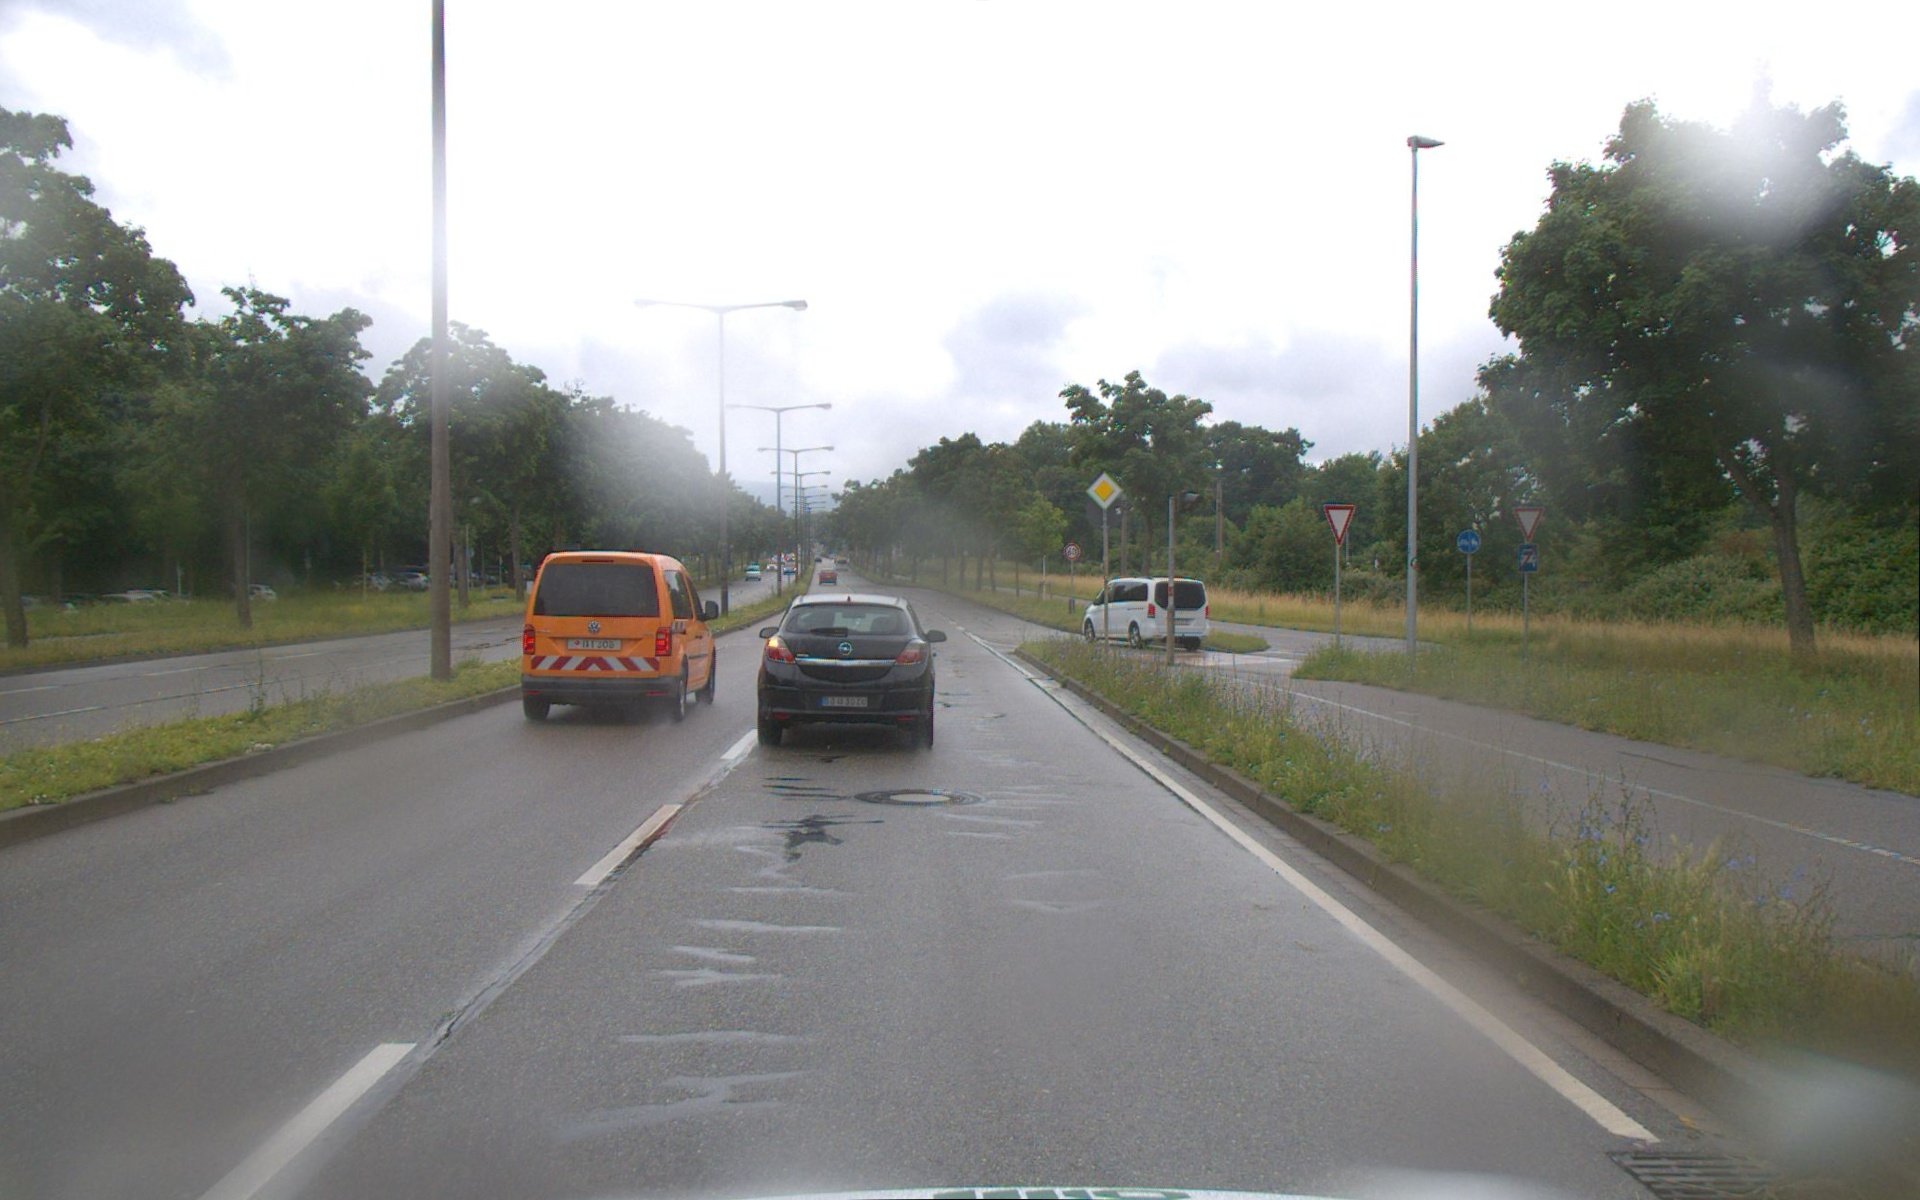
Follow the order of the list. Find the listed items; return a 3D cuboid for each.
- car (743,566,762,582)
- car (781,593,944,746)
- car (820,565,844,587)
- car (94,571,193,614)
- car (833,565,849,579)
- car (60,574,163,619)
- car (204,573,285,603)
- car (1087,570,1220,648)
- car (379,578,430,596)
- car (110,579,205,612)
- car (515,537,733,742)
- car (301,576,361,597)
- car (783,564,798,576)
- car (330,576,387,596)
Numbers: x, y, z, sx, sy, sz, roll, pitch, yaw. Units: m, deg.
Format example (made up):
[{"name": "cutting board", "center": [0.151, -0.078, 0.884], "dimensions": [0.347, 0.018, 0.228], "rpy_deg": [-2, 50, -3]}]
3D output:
[{"name": "car", "center": [-22.070, -2.749, 176.035], "dimensions": [1.649, 1.581, 3.999], "rpy_deg": [1, 1, -2]}, {"name": "car", "center": [-0.901, 0.655, 16.672], "dimensions": [1.433, 1.352, 3.756], "rpy_deg": [1, -1, -1]}, {"name": "car", "center": [-11.770, -2.198, 152.029], "dimensions": [1.953, 1.912, 3.999], "rpy_deg": [1, 0, -1]}, {"name": "car", "center": [-40.385, -0.401, 81.860], "dimensions": [3.913, 2.048, 1.996], "rpy_deg": [0, 1, -9]}, {"name": "car", "center": [-18.718, -4.367, 259.162], "dimensions": [2.466, 2.088, 5.289], "rpy_deg": [0, 0, -4]}, {"name": "car", "center": [-40.567, -0.187, 79.189], "dimensions": [3.913, 2.048, 1.996], "rpy_deg": [0, 1, -9]}, {"name": "car", "center": [-41.666, -0.718, 96.394], "dimensions": [3.913, 1.668, 1.908], "rpy_deg": [0, 1, -9]}, {"name": "car", "center": [5.249, 0.221, 45.629], "dimensions": [2.026, 2.009, 4.589], "rpy_deg": [1, 0, -16]}, {"name": "car", "center": [-45.934, -1.069, 136.828], "dimensions": [3.764, 1.477, 1.522], "rpy_deg": [0, 1, -9]}, {"name": "car", "center": [-40.800, -0.223, 84.133], "dimensions": [3.913, 1.646, 1.996], "rpy_deg": [0, 1, -9]}, {"name": "car", "center": [-3.782, 0.379, 19.400], "dimensions": [1.700, 2.054, 4.847], "rpy_deg": [2, 1, -2]}, {"name": "car", "center": [-44.245, -0.929, 116.376], "dimensions": [3.664, 1.451, 1.485], "rpy_deg": [0, 1, -9]}, {"name": "car", "center": [-22.239, -3.923, 217.231], "dimensions": [1.791, 1.475, 3.807], "rpy_deg": [0, 1, -3]}, {"name": "car", "center": [-45.045, -1.031, 123.971], "dimensions": [3.764, 1.477, 1.522], "rpy_deg": [0, 1, -9]}]
